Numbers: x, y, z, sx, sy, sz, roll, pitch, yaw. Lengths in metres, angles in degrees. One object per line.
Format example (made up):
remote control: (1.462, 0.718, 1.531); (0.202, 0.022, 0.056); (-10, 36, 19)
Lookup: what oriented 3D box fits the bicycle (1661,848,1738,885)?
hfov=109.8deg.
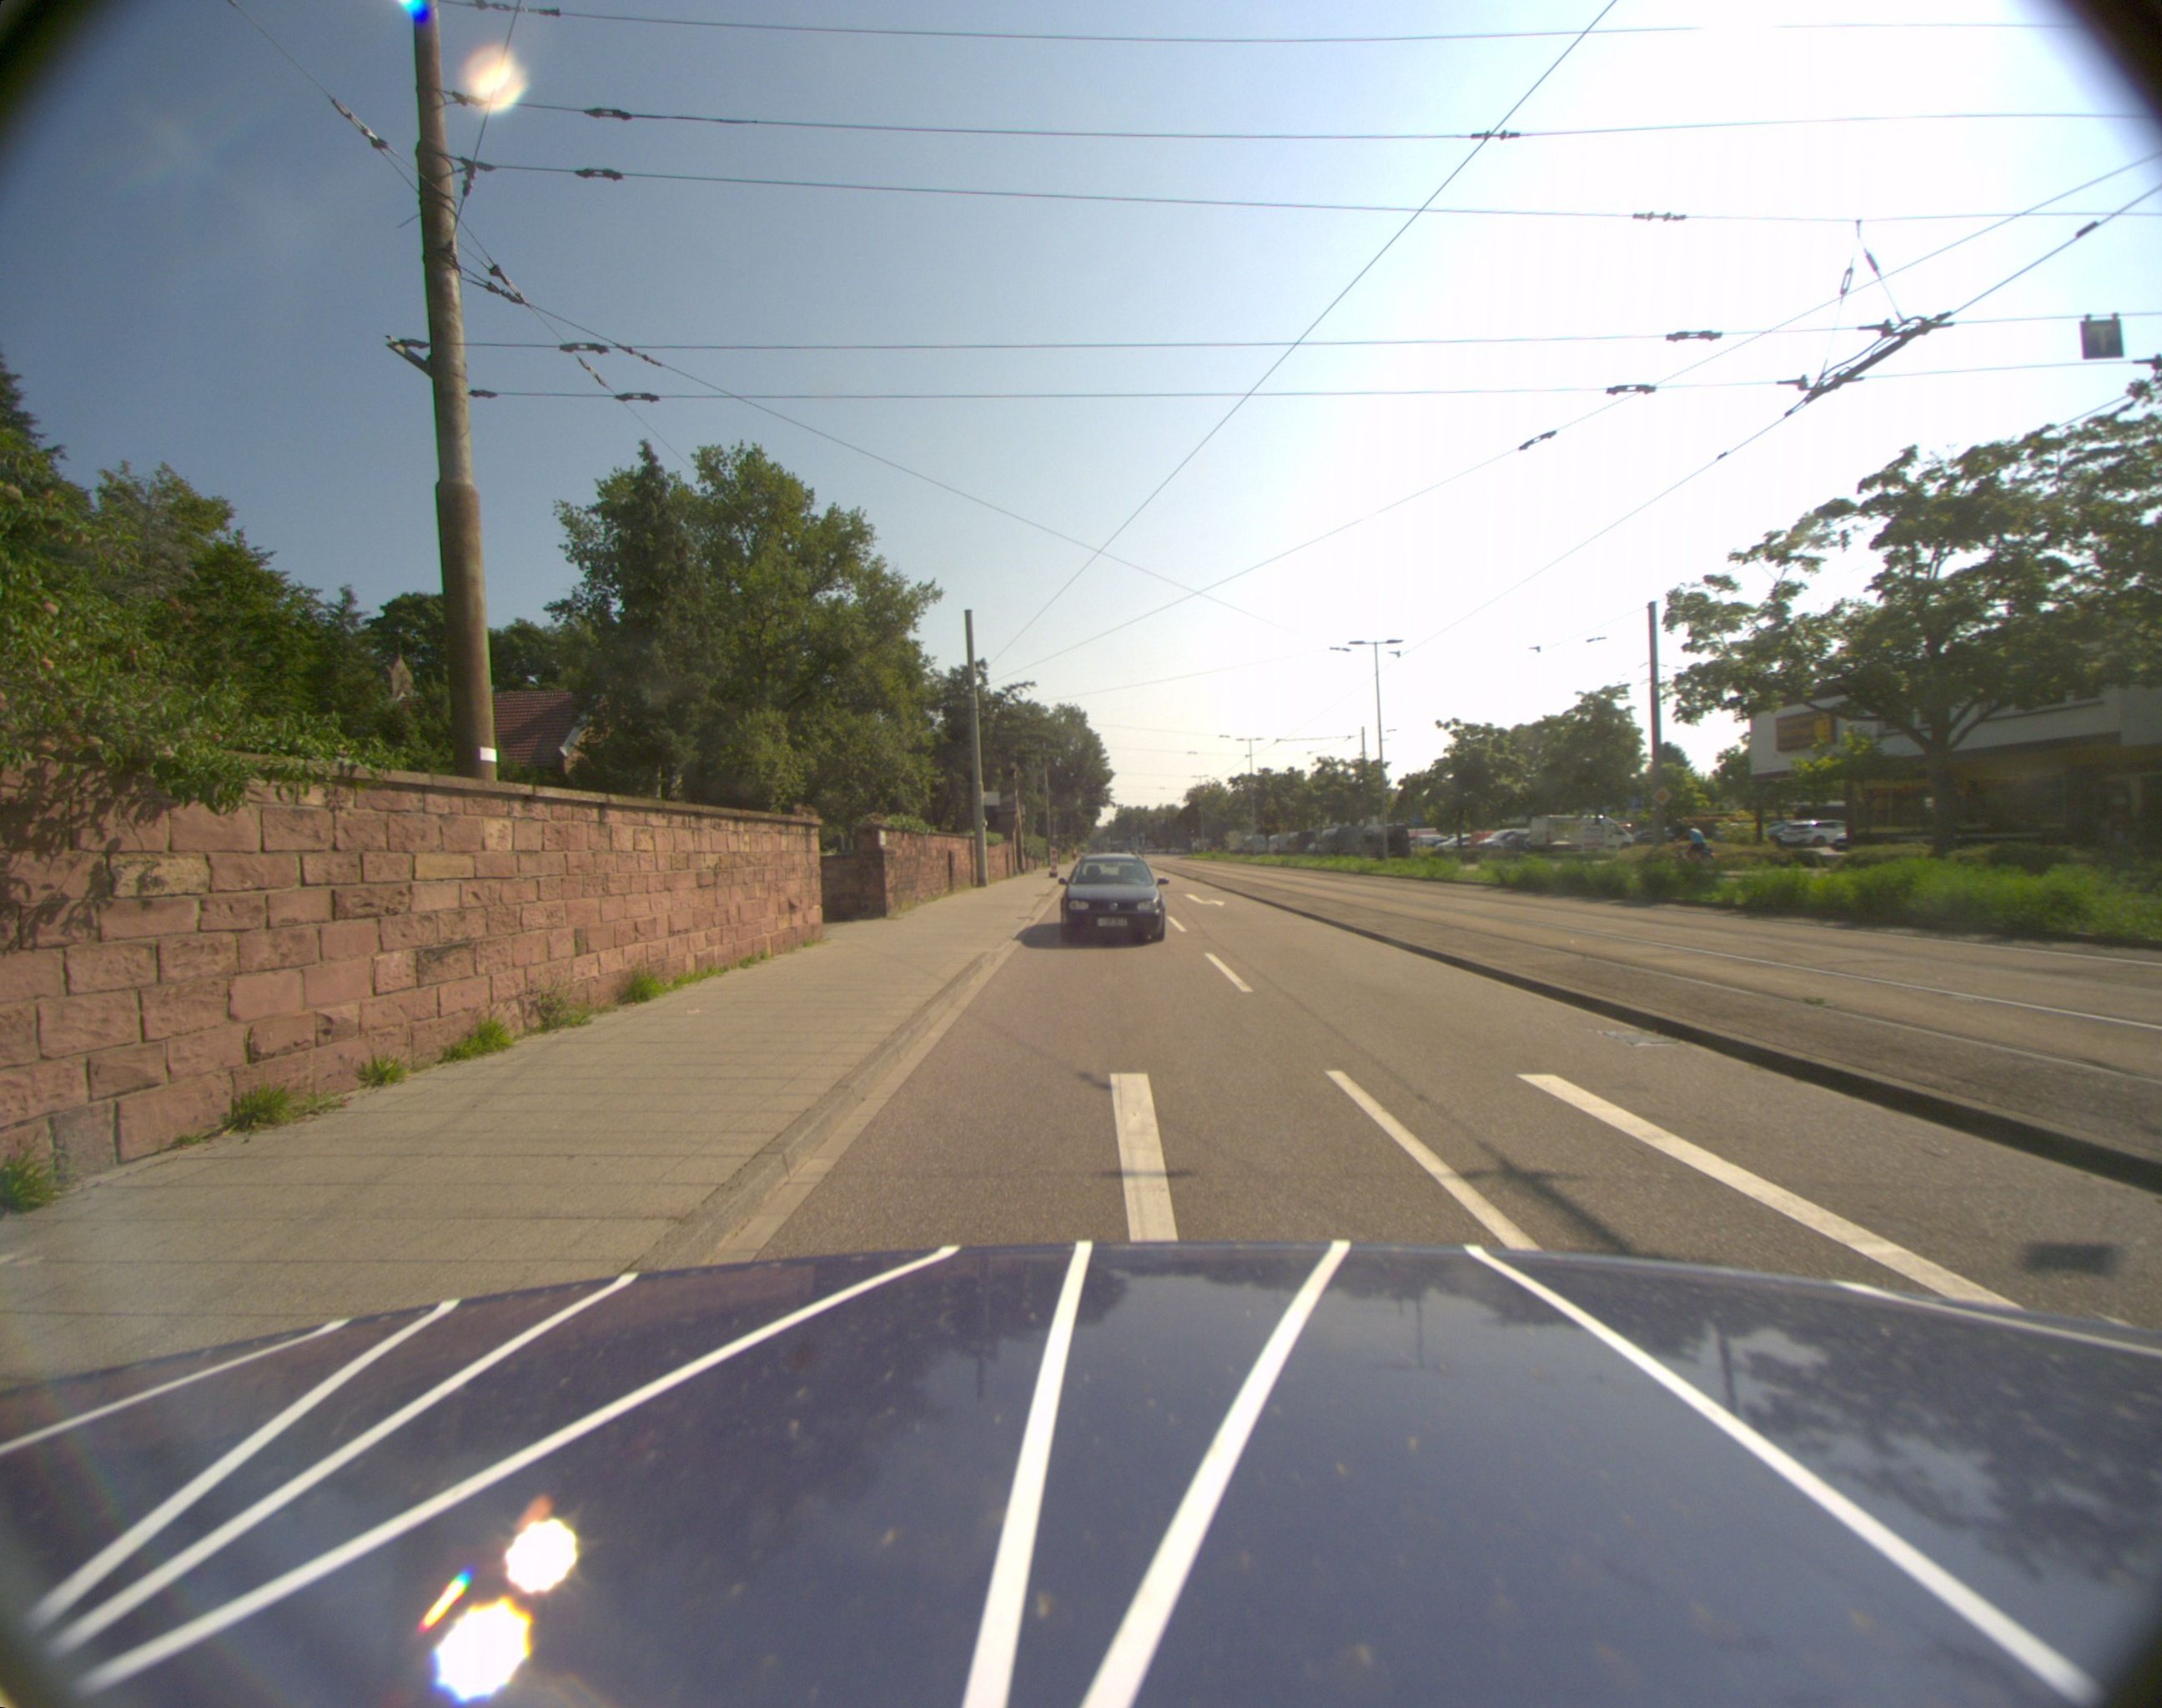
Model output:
bicycle: (19.186, 0.358, 23.639); (0.716, 1.085, 2.265); (-1, 1, 5)

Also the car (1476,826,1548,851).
car: (31.975, -1.130, 56.459); (4.409, 1.774, 1.633); (-1, 1, 0)

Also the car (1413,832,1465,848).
car: (32.739, -1.301, 69.519); (3.933, 1.442, 1.633); (-1, 1, 0)

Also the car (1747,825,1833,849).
car: (44.455, -1.061, 47.699); (3.713, 1.335, 1.492); (-2, 1, 9)

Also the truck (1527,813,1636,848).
truck: (32.062, -1.494, 48.757); (5.503, 2.160, 2.259); (-1, 1, 0)

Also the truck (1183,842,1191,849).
truck: (25.450, -1.943, 182.290); (1.691, 1.665, 3.655); (-1, 1, 2)

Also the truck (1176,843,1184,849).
truck: (25.002, -2.065, 192.436); (1.691, 1.665, 3.655); (-1, 1, 2)

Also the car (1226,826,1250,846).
car: (22.440, -2.527, 108.881); (2.129, 2.789, 7.231); (-1, 1, 2)

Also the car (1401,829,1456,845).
car: (34.162, -1.649, 74.721); (4.665, 1.442, 1.633); (-1, 1, 0)

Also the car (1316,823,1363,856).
car: (21.763, -1.237, 64.284); (1.993, 2.571, 6.467); (-3, 1, 4)

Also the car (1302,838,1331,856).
car: (21.880, -0.670, 70.688); (1.748, 1.543, 3.834); (-3, 1, 4)

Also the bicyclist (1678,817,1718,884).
bicyclist: (19.170, -0.114, 23.633); (0.638, 2.052, 0.774); (-1, 1, 5)

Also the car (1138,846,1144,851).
car: (19.058, -1.876, 242.090); (1.929, 1.511, 3.949); (-1, 1, 4)

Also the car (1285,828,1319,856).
car: (22.240, -1.173, 76.596); (1.826, 2.571, 5.910); (-3, 0, 3)

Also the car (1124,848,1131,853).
car: (13.650, -1.087, 222.438); (1.726, 1.317, 4.000); (-1, 1, 2)

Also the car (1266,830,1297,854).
car: (22.285, -1.336, 84.645); (2.137, 2.571, 5.630); (-1, 1, 2)

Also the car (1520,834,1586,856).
car: (31.863, -0.636, 51.361); (3.413, 1.418, 1.633); (-1, 1, 0)

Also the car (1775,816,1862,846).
car: (44.344, -1.405, 45.737); (3.455, 1.494, 1.875); (-4, 3, -1)

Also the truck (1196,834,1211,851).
truck: (24.431, -2.304, 152.014); (2.278, 3.104, 8.788); (-1, 1, 4)

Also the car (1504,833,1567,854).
car: (31.907, -0.768, 53.419); (3.413, 1.418, 1.633); (-1, 1, 0)

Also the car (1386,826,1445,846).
car: (34.245, -1.843, 77.837); (5.198, 1.914, 2.052); (-1, 1, 0)

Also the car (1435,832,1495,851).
car: (32.478, -1.029, 64.312); (4.166, 1.455, 1.625); (-1, 1, 3)

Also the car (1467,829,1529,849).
car: (32.458, -1.183, 59.230); (3.933, 1.510, 1.633); (-1, 1, 0)

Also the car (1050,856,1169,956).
car: (0.517, 0.779, 13.304); (1.776, 1.416, 3.935); (0, 1, 3)

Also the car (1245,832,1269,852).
car: (22.922, -1.557, 99.123); (2.148, 2.444, 4.831); (-1, 1, 0)

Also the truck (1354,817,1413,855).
truck: (21.523, -1.258, 54.340); (2.086, 2.533, 5.738); (-1, 1, 1)

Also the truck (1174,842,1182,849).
truck: (25.052, -2.176, 196.488); (1.691, 1.665, 3.655); (-1, 1, 2)
